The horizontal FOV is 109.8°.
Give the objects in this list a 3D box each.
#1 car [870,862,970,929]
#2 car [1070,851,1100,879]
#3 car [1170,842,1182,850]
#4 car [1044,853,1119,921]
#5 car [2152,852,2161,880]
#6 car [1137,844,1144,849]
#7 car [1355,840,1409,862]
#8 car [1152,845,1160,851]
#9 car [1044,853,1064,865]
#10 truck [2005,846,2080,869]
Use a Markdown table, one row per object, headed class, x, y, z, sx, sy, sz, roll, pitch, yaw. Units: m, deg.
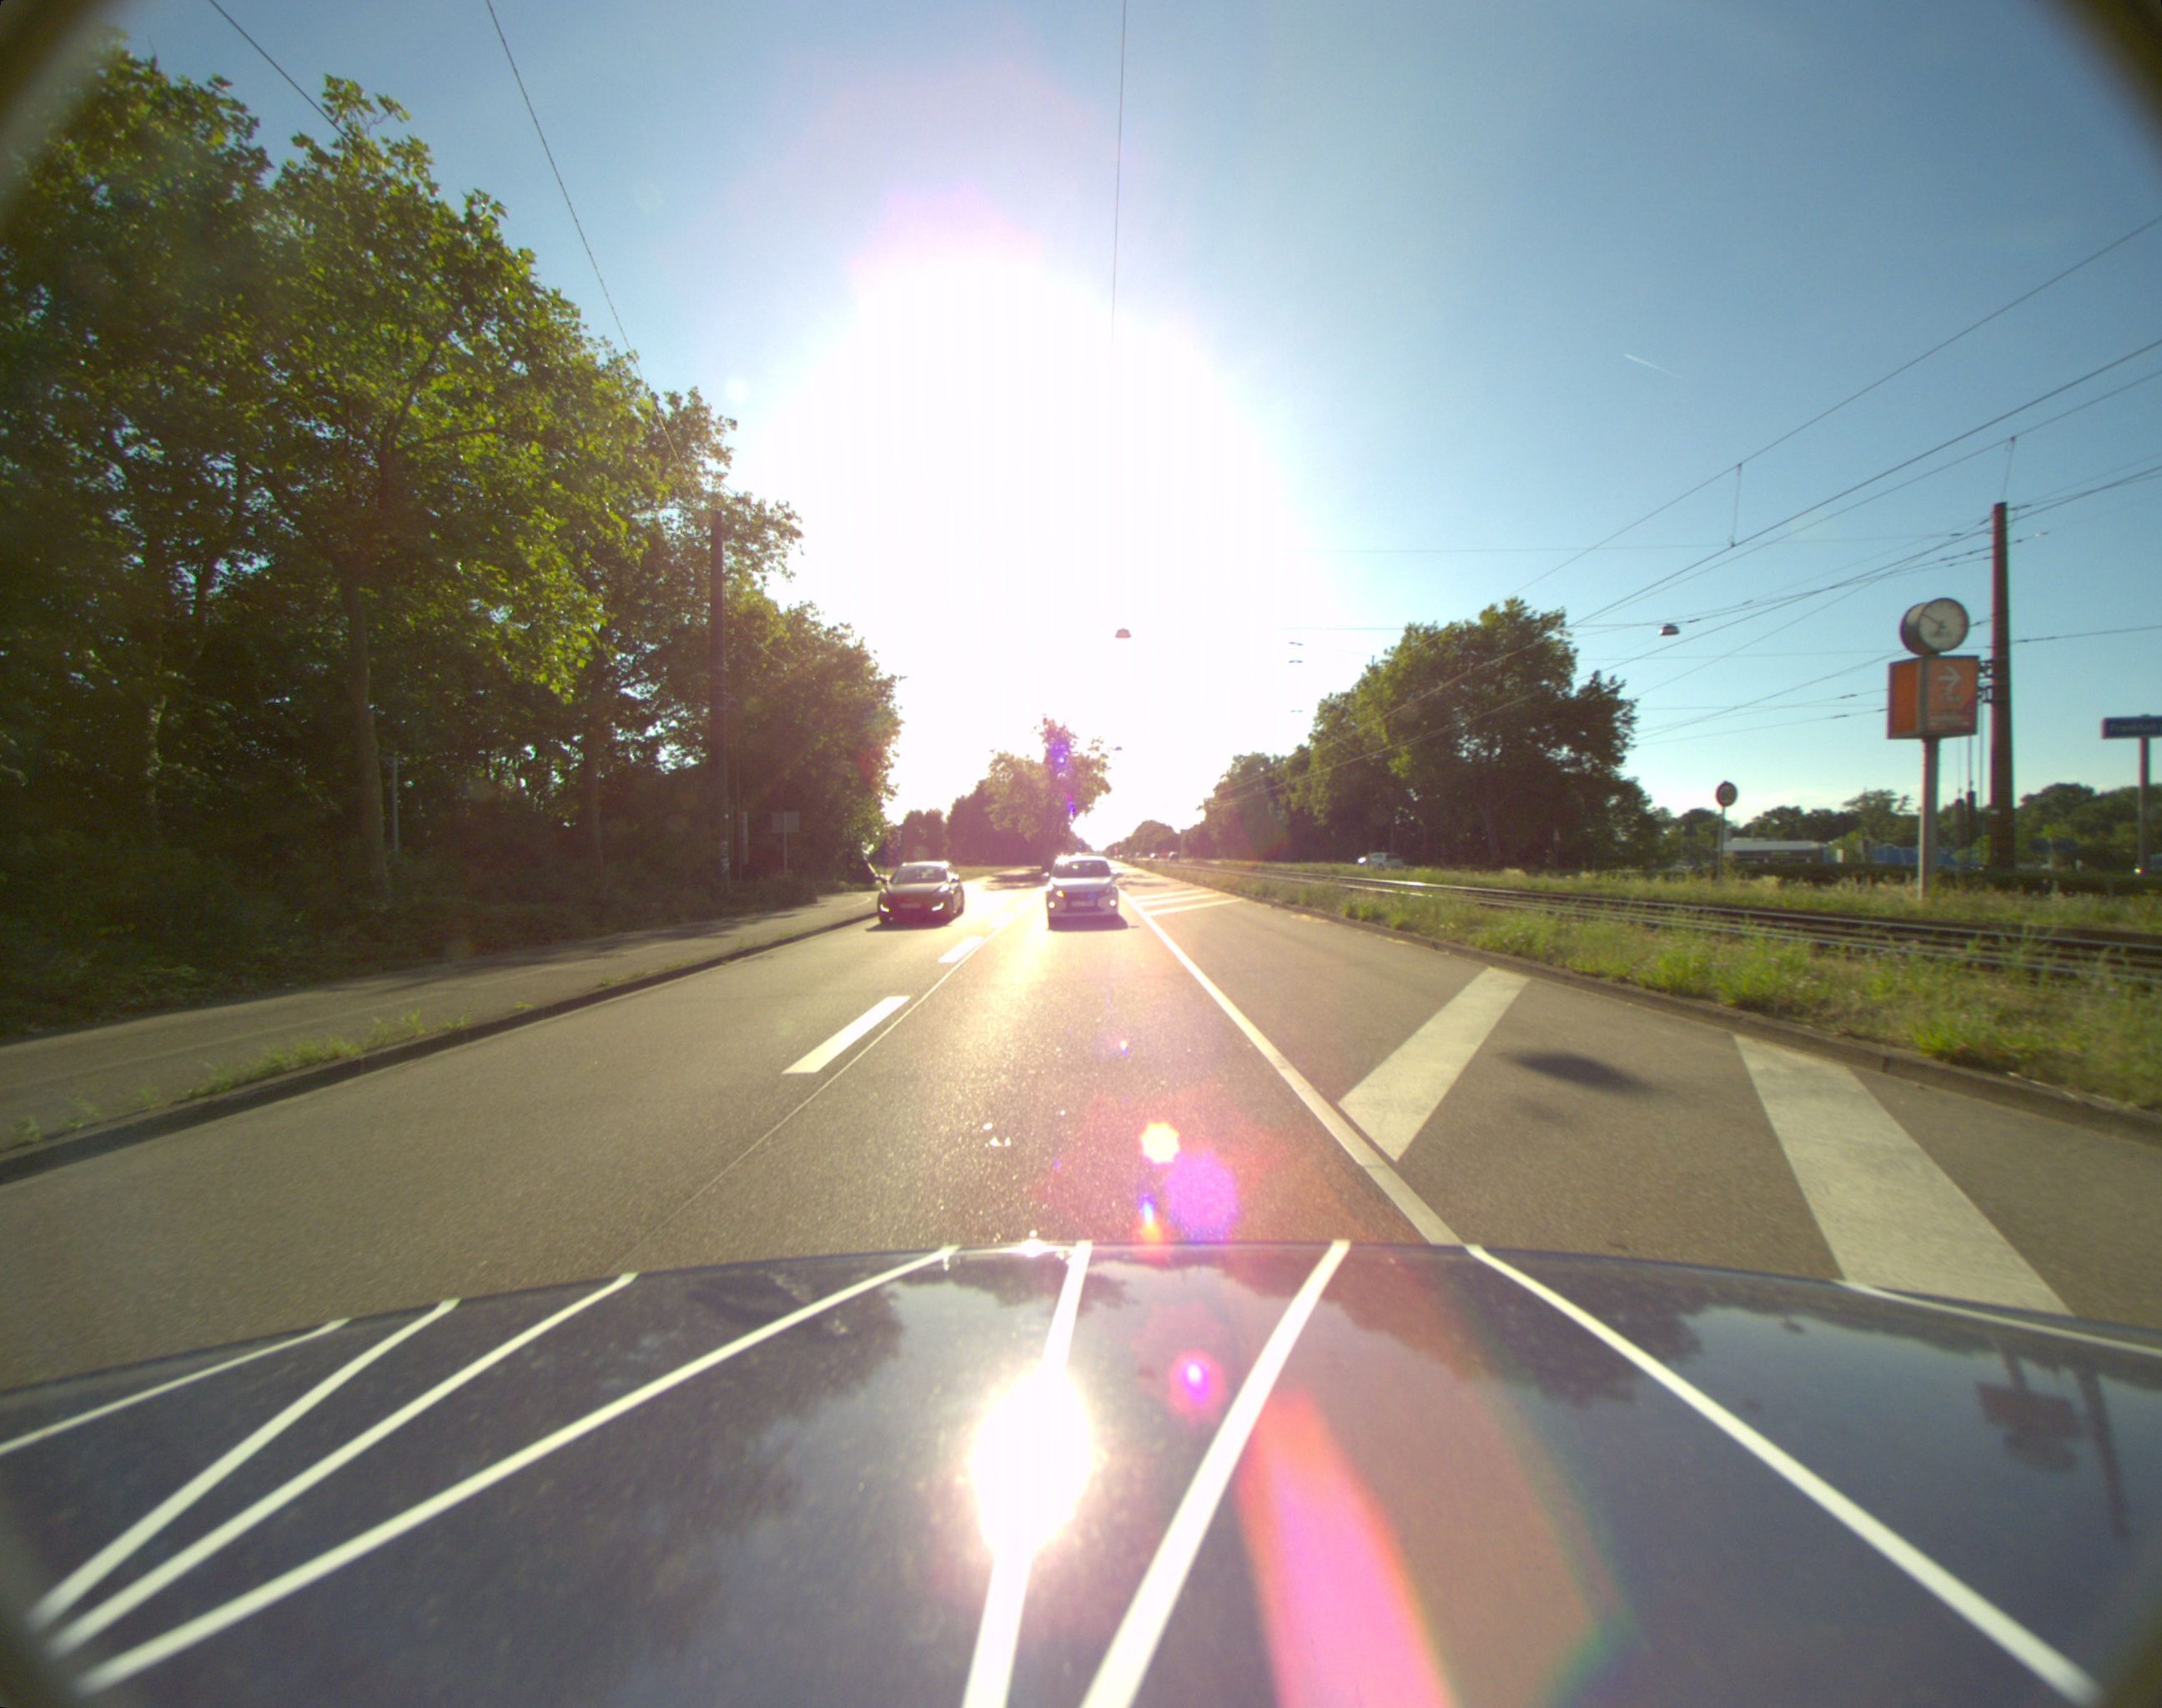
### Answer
| class | x | y | z | sx | sy | sz | roll | pitch | yaw |
| --- | --- | --- | --- | --- | --- | --- | --- | --- | --- |
| car | -4.121 | 1.004 | 20.150 | 1.797 | 1.432 | 4.222 | -2 | 1 | -2 |
| car | 0.297 | 0.631 | 46.380 | 1.709 | 1.512 | 3.844 | -2 | 1 | 1 |
| car | 20.336 | -1.766 | 163.109 | 1.903 | 1.684 | 4.940 | 0 | 1 | -1 |
| car | 0.052 | 0.769 | 19.859 | 1.709 | 1.503 | 3.862 | -2 | 1 | 1 |
| car | 61.953 | 0.736 | 42.651 | 4.133 | 1.517 | 1.654 | 1 | 3 | -30 |
| car | 19.932 | -2.413 | 254.500 | 1.968 | 1.697 | 4.943 | 1 | 1 | -2 |
| car | 23.552 | -0.249 | 59.540 | 1.659 | 1.517 | 4.265 | -1 | 3 | -16 |
| car | 19.980 | -1.541 | 203.088 | 1.715 | 1.459 | 4.347 | 1 | 0 | -1 |
| car | -4.731 | 0.872 | 132.848 | 1.883 | 1.790 | 3.651 | -2 | 1 | 27 |
| truck | 113.106 | 0.420 | 89.466 | 5.018 | 2.506 | 2.068 | -2 | 1 | 30 |
